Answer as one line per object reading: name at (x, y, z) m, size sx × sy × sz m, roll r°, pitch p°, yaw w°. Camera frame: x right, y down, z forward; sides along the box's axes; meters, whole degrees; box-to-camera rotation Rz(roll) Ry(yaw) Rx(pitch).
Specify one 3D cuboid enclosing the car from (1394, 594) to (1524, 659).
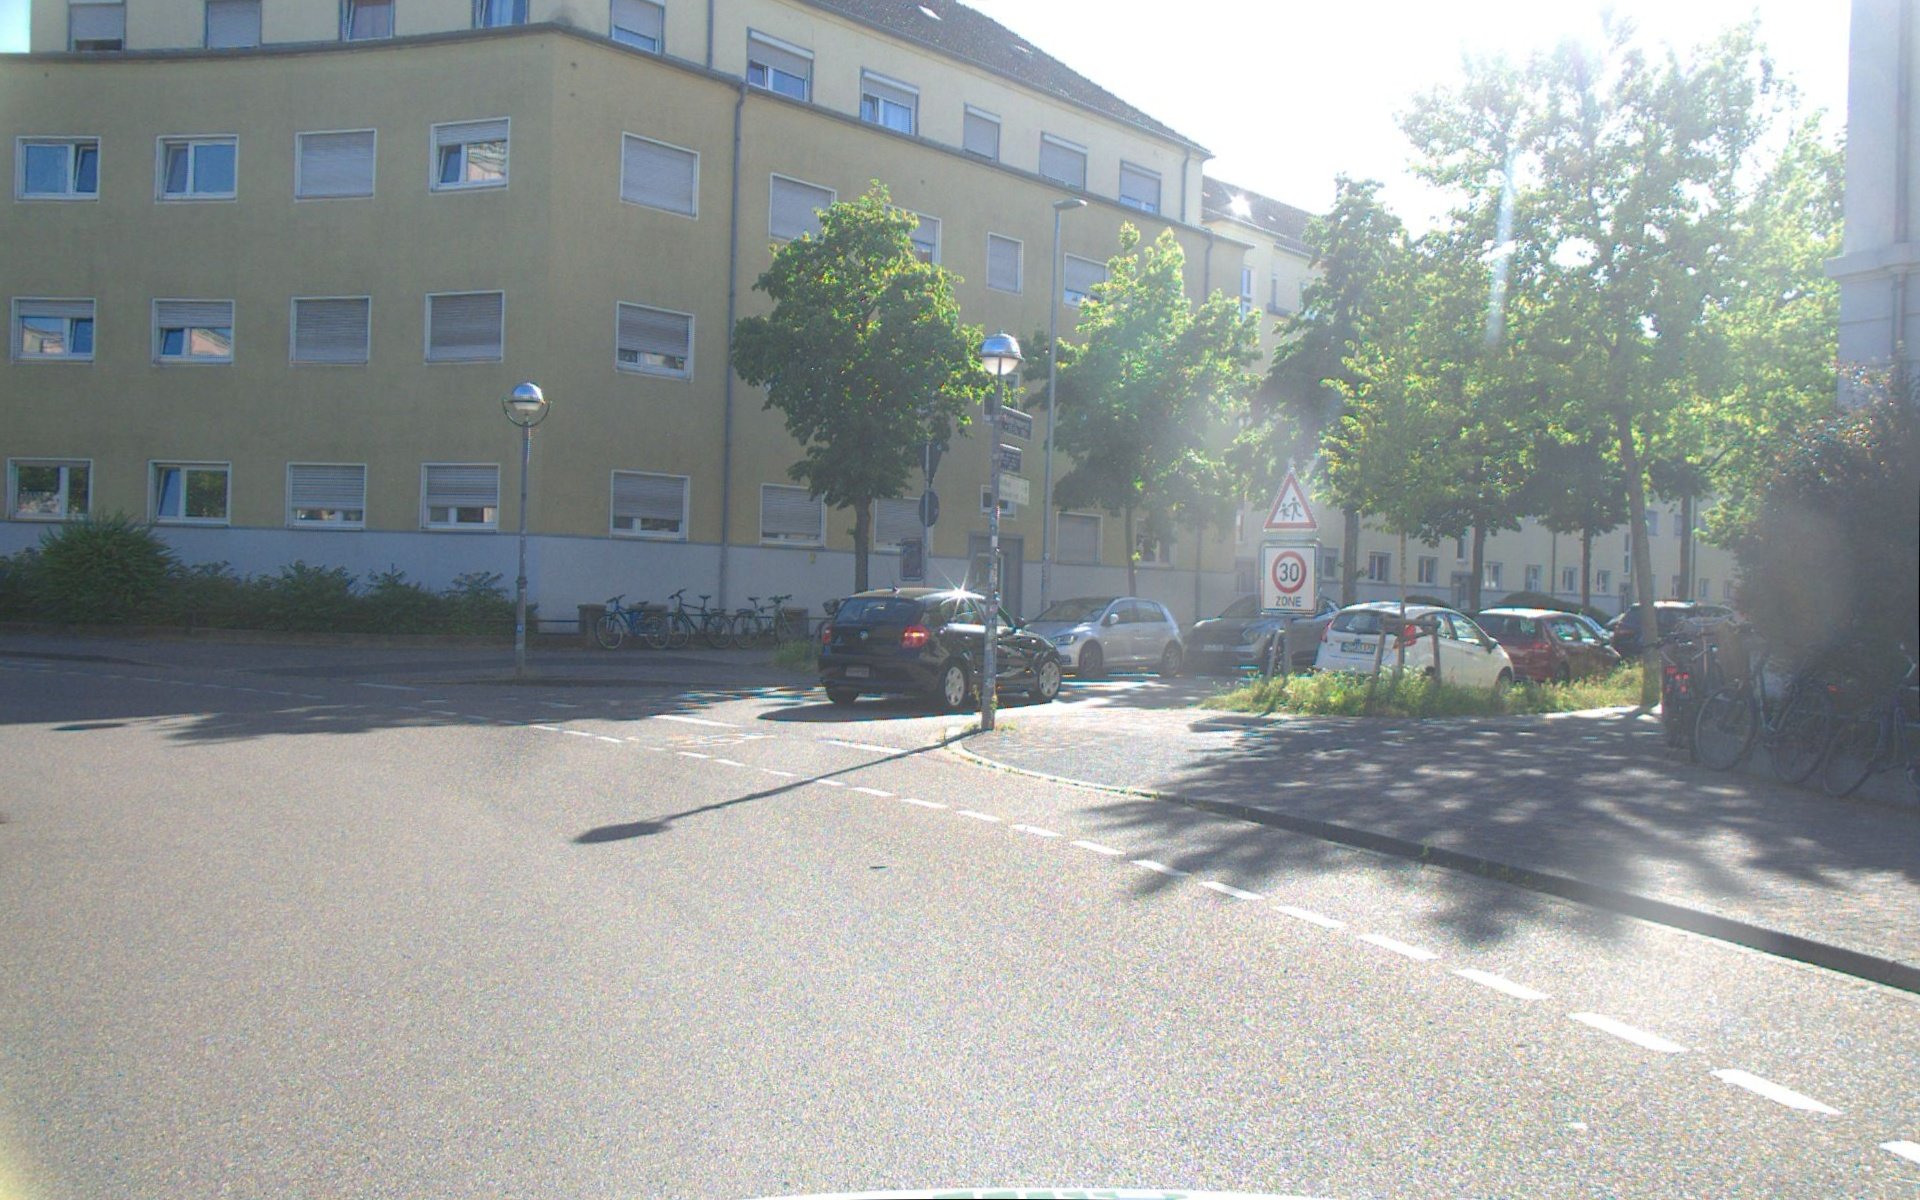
car at (12.577, 0.649, 41.576) m, size 1.766 × 1.537 × 3.980 m, roll 1°, pitch 0°, yaw 39°

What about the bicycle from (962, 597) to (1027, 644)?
bicycle at (0.781, 0.468, 37.203) m, size 1.433 × 1.044 × 0.494 m, roll 1°, pitch 0°, yaw -36°

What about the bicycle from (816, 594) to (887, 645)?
bicycle at (-2.247, 0.407, 34.350) m, size 1.433 × 1.044 × 0.494 m, roll 1°, pitch 0°, yaw -36°

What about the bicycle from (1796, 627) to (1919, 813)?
bicycle at (6.240, 0.767, 10.851) m, size 0.489 × 1.127 × 1.799 m, roll 1°, pitch 1°, yaw -4°

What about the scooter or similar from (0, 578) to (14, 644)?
scooter or similar at (-15.631, 0.176, 26.059) m, size 0.895 × 1.041 × 0.899 m, roll 0°, pitch 1°, yaw 2°

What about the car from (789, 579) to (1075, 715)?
car at (-0.235, 0.518, 20.628) m, size 1.829 × 1.443 × 3.994 m, roll 3°, pitch 1°, yaw 28°

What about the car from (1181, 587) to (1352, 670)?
car at (6.371, 0.581, 34.105) m, size 1.766 × 1.603 × 3.980 m, roll 1°, pitch -1°, yaw 39°

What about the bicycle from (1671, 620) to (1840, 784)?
bicycle at (6.099, 0.744, 12.770) m, size 0.488 × 1.127 × 1.801 m, roll 1°, pitch 1°, yaw 2°

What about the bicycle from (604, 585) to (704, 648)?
bicycle at (-5.642, 0.307, 30.485) m, size 1.765 × 1.127 × 0.498 m, roll 1°, pitch 0°, yaw -16°

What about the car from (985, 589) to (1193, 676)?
car at (2.372, 0.577, 29.662) m, size 1.770 × 1.436 × 3.980 m, roll 1°, pitch 0°, yaw 39°

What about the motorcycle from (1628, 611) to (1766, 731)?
motorcycle at (7.851, 0.733, 17.596) m, size 0.873 × 1.212 × 1.480 m, roll -1°, pitch -1°, yaw 44°

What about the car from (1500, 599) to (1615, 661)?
car at (16.497, 0.828, 45.576) m, size 1.766 × 1.603 × 3.980 m, roll 1°, pitch -1°, yaw 39°

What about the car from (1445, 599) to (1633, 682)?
car at (9.805, 0.659, 27.872) m, size 1.767 × 1.277 × 3.697 m, roll 1°, pitch 0°, yaw 41°

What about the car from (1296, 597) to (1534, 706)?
car at (6.777, 0.733, 24.418) m, size 1.769 × 1.437 × 3.975 m, roll 2°, pitch 0°, yaw 42°

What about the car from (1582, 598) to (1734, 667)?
car at (13.993, 0.645, 33.069) m, size 1.767 × 1.277 × 3.697 m, roll 1°, pitch 0°, yaw 41°

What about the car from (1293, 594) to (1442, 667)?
car at (9.251, 0.681, 37.352) m, size 1.766 × 1.537 × 3.980 m, roll 1°, pitch 0°, yaw 39°

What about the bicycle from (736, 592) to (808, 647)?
bicycle at (-3.705, 0.388, 32.695) m, size 0.491 × 1.044 × 1.441 m, roll 1°, pitch 0°, yaw 41°

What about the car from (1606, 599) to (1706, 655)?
car at (21.126, 0.818, 50.150) m, size 1.766 × 1.603 × 3.980 m, roll 1°, pitch -1°, yaw 39°

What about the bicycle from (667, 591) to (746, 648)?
bicycle at (-4.832, 0.366, 31.567) m, size 1.421 × 1.044 × 0.498 m, roll 1°, pitch 0°, yaw -16°

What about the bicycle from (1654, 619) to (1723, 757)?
bicycle at (6.576, 0.756, 14.984) m, size 0.488 × 1.127 × 1.950 m, roll 1°, pitch 1°, yaw 22°
